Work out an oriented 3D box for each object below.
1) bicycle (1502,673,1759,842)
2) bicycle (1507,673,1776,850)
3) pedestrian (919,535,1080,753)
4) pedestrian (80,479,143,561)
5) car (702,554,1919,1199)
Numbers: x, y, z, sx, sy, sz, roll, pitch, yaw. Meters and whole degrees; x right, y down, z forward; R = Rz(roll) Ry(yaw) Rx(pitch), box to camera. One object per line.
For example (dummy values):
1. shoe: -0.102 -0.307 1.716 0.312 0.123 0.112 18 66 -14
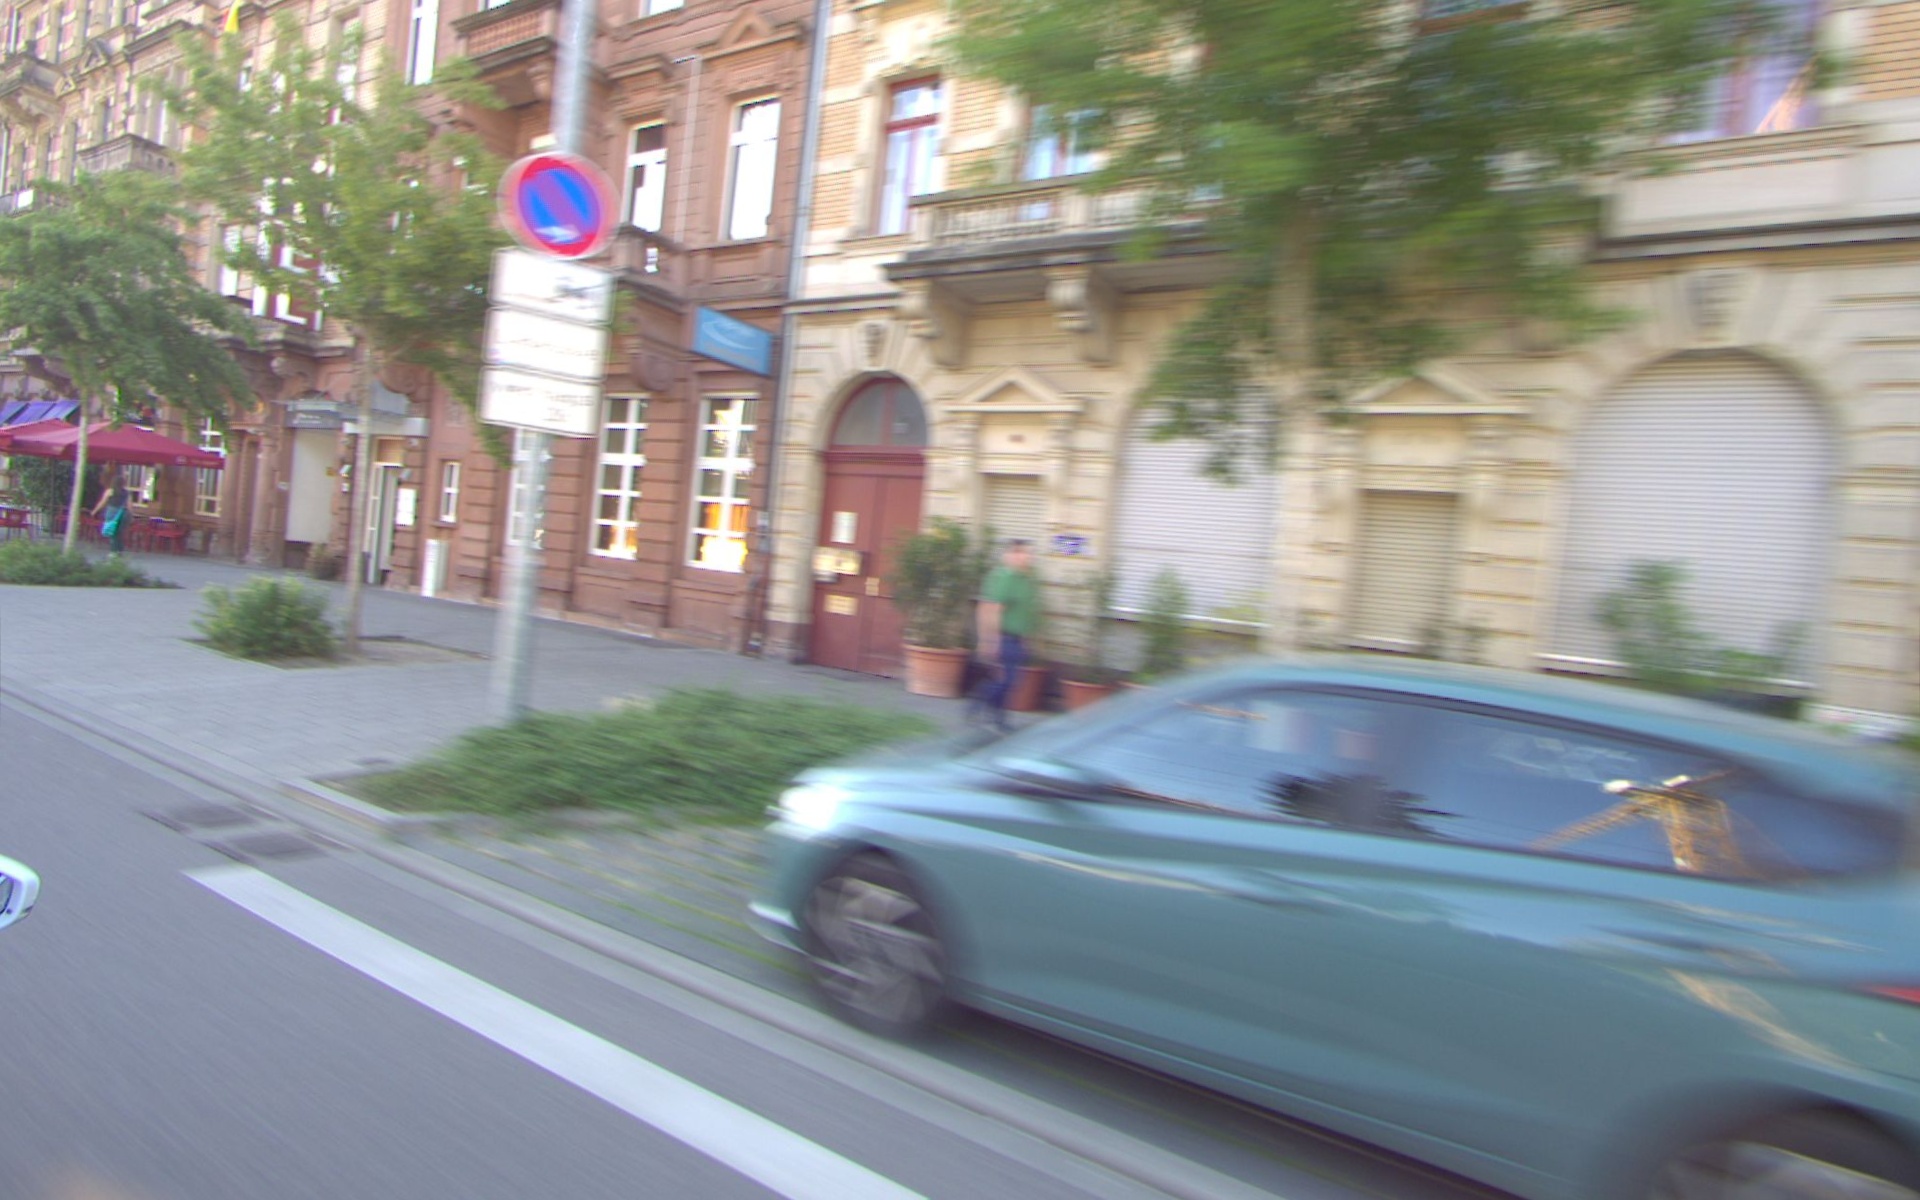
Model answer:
1. bicycle: 5.562 1.276 8.446 1.648 1.093 0.385 7 1 32
2. bicycle: 5.409 1.246 8.087 1.648 1.093 0.385 7 1 32
3. pedestrian: 0.353 0.368 9.037 1.054 1.778 0.747 7 3 32
4. pedestrian: -17.047 -1.602 20.209 0.783 1.555 0.728 7 4 31
5. car: 1.338 0.855 3.479 4.226 1.585 1.848 7 3 32
